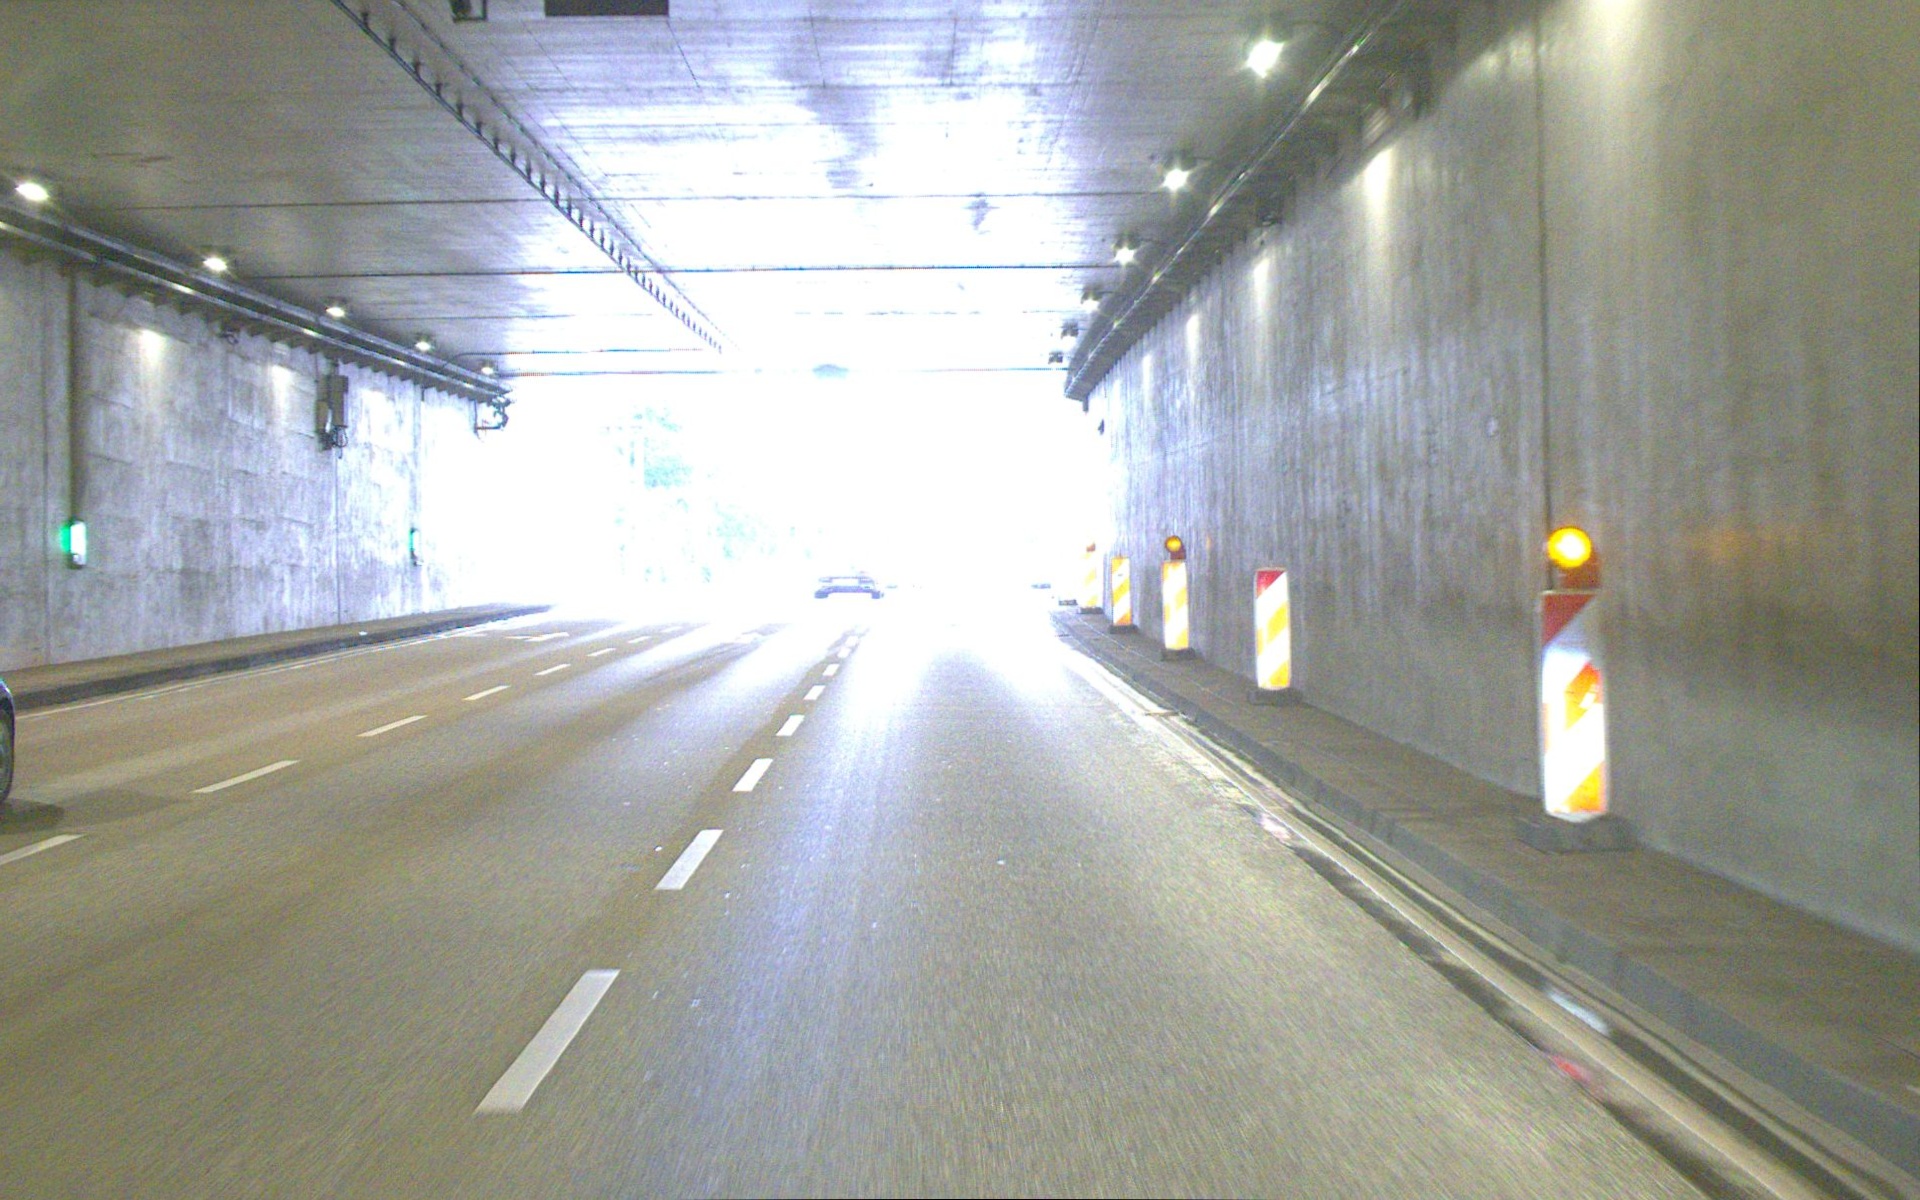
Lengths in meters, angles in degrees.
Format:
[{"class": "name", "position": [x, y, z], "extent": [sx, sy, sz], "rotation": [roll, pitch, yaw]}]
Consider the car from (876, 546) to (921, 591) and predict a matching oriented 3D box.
[{"class": "car", "position": [-2.822, -1.419, 157.029], "extent": [1.993, 2.007, 4.000], "rotation": [0, 0, -1]}]

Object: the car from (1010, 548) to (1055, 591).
[{"class": "car", "position": [3.483, -1.475, 165.759], "extent": [1.993, 2.007, 4.000], "rotation": [1, 0, 0]}]

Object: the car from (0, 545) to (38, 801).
[{"class": "car", "position": [-6.208, 0.406, 18.490], "extent": [1.612, 1.449, 3.573], "rotation": [2, 1, -2]}]

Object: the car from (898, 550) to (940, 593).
[{"class": "car", "position": [-1.975, -1.379, 165.451], "extent": [1.993, 2.007, 4.000], "rotation": [0, 0, -1]}]

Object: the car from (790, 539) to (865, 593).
[{"class": "car", "position": [-3.687, -0.945, 95.221], "extent": [1.993, 1.443, 4.315], "rotation": [0, 1, -3]}]
